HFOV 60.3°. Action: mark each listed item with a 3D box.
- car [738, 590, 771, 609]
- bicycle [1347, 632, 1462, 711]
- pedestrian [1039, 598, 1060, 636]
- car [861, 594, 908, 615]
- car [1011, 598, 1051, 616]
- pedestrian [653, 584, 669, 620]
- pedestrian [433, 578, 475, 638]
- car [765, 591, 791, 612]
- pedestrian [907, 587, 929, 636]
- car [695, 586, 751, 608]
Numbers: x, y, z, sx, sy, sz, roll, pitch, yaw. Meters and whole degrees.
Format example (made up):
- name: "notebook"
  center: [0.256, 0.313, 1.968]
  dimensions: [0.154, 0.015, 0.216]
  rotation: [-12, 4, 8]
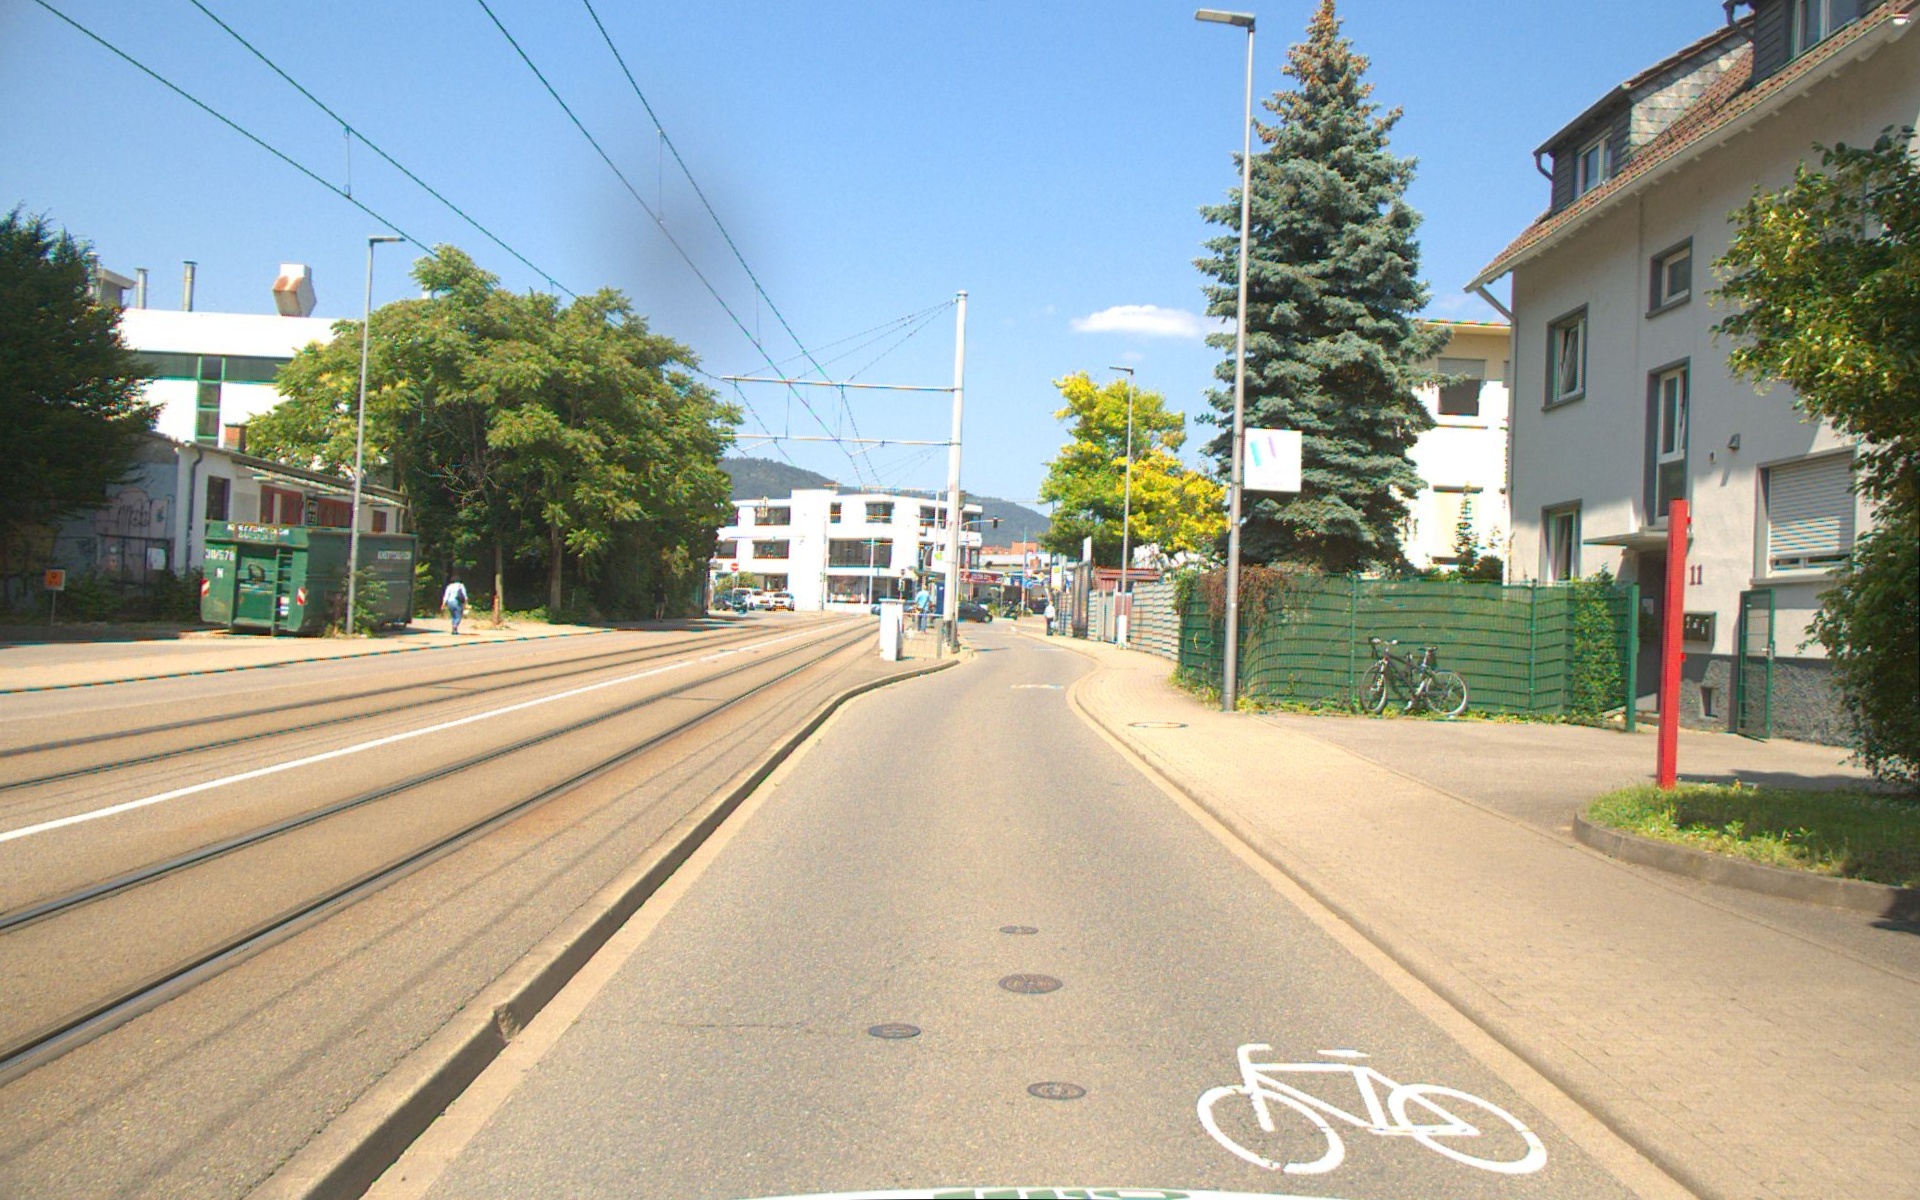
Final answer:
- name: "car"
  center: [-18.887, -0.029, 151.792]
  dimensions: [1.903, 1.676, 3.729]
  rotation: [1, 0, -27]
- name: "bicycle"
  center: [5.970, 0.964, 22.245]
  dimensions: [1.441, 1.008, 0.388]
  rotation: [2, -3, -2]
- name: "pedestrian"
  center: [4.463, 0.838, 82.662]
  dimensions: [0.921, 1.818, 0.953]
  rotation: [2, 1, -2]
- name: "car"
  center: [-6.643, 0.420, 144.891]
  dimensions: [3.826, 1.709, 1.726]
  rotation: [2, 0, -13]
- name: "car"
  center: [7.149, 0.730, 167.053]
  dimensions: [1.834, 1.691, 3.972]
  rotation: [1, 0, 44]
- name: "pedestrian"
  center: [-13.237, 0.100, 73.164]
  dimensions: [0.572, 1.564, 0.657]
  rotation: [1, 0, -1]
- name: "pedestrian"
  center: [-13.556, 0.214, 44.335]
  dimensions: [0.817, 1.564, 0.838]
  rotation: [1, 0, -1]
- name: "car"
  center: [-15.311, 0.114, 139.022]
  dimensions: [1.726, 1.676, 3.749]
  rotation: [1, 0, -13]
- name: "pedestrian"
  center: [-1.519, 0.412, 60.034]
  dimensions: [0.728, 1.771, 0.727]
  rotation: [1, 0, -1]
- name: "car"
  center: [-17.684, -0.247, 123.372]
  dimensions: [3.915, 1.579, 1.787]
  rotation: [1, 0, 32]
